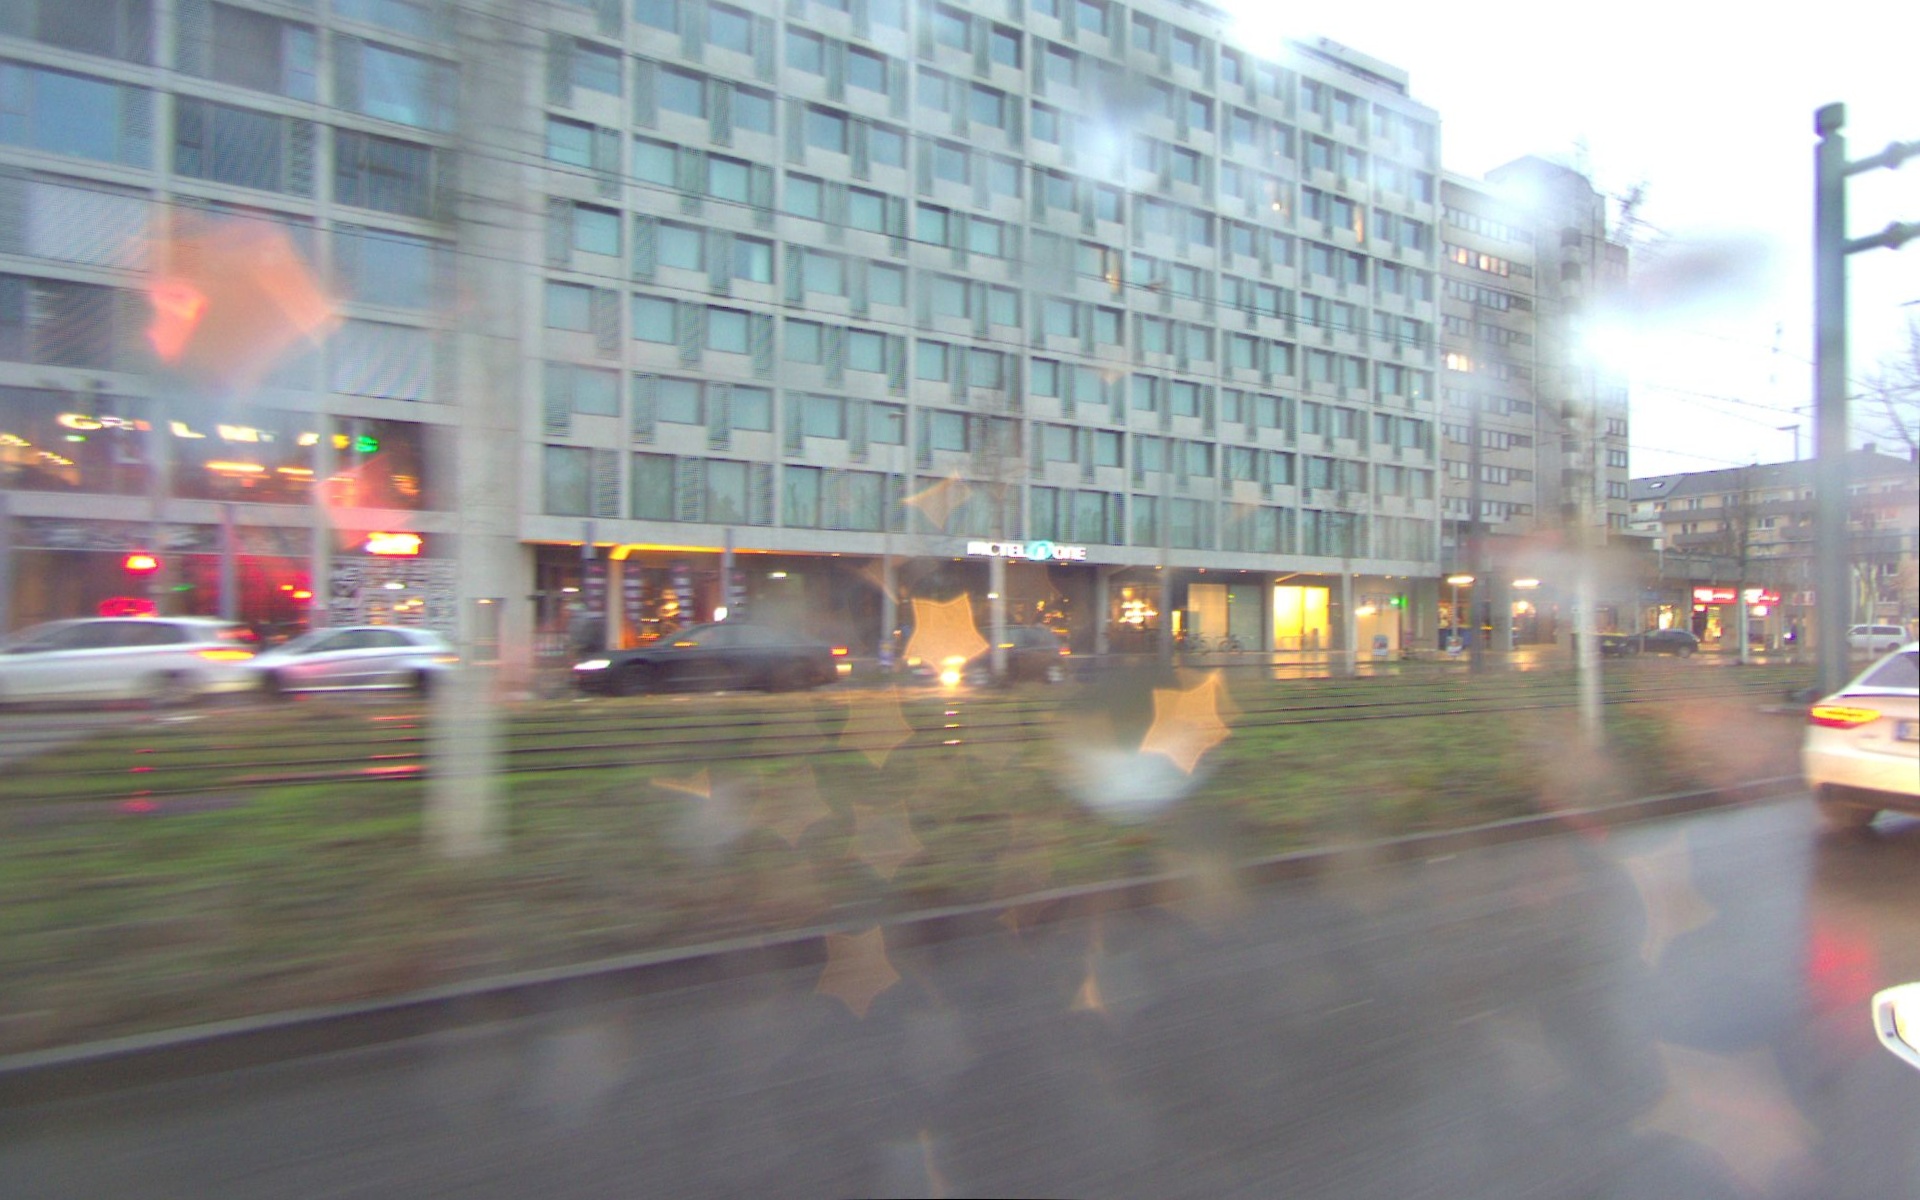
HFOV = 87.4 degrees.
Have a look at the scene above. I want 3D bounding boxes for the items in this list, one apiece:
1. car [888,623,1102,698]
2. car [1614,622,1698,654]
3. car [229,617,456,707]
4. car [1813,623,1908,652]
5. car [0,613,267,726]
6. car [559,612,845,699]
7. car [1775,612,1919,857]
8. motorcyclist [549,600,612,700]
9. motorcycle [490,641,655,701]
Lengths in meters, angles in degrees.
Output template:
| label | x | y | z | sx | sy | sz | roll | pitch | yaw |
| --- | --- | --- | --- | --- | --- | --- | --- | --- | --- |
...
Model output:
| label | x | y | z | sx | sy | sz | roll | pitch | yaw |
| --- | --- | --- | --- | --- | --- | --- | --- | --- | --- |
| car | 0.912 | 1.309 | 23.055 | 5.061 | 1.481 | 1.974 | 1 | 0 | -44 |
| car | 41.664 | 2.265 | 60.191 | 3.744 | 1.821 | 1.910 | 0 | -1 | 20 |
| car | -13.538 | 1.319 | 22.345 | 4.123 | 1.813 | 1.874 | 1 | 0 | -28 |
| car | 66.401 | 2.730 | 74.144 | 4.788 | 2.040 | 2.000 | 0 | -1 | 20 |
| car | -15.144 | 1.170 | 17.748 | 4.542 | 1.813 | 1.873 | 1 | 0 | -29 |
| car | -4.930 | 1.015 | 19.416 | 5.034 | 1.481 | 1.984 | 1 | 0 | -30 |
| car | 7.756 | 0.869 | 7.100 | 4.202 | 1.489 | 1.751 | 1 | 0 | -31 |
| motorcyclist | -7.509 | 0.977 | 19.863 | 1.021 | 1.910 | 0.867 | 1 | 0 | -30 |
| motorcycle | -7.610 | 1.364 | 19.802 | 2.931 | 1.071 | 0.867 | 1 | 0 | -30 |
